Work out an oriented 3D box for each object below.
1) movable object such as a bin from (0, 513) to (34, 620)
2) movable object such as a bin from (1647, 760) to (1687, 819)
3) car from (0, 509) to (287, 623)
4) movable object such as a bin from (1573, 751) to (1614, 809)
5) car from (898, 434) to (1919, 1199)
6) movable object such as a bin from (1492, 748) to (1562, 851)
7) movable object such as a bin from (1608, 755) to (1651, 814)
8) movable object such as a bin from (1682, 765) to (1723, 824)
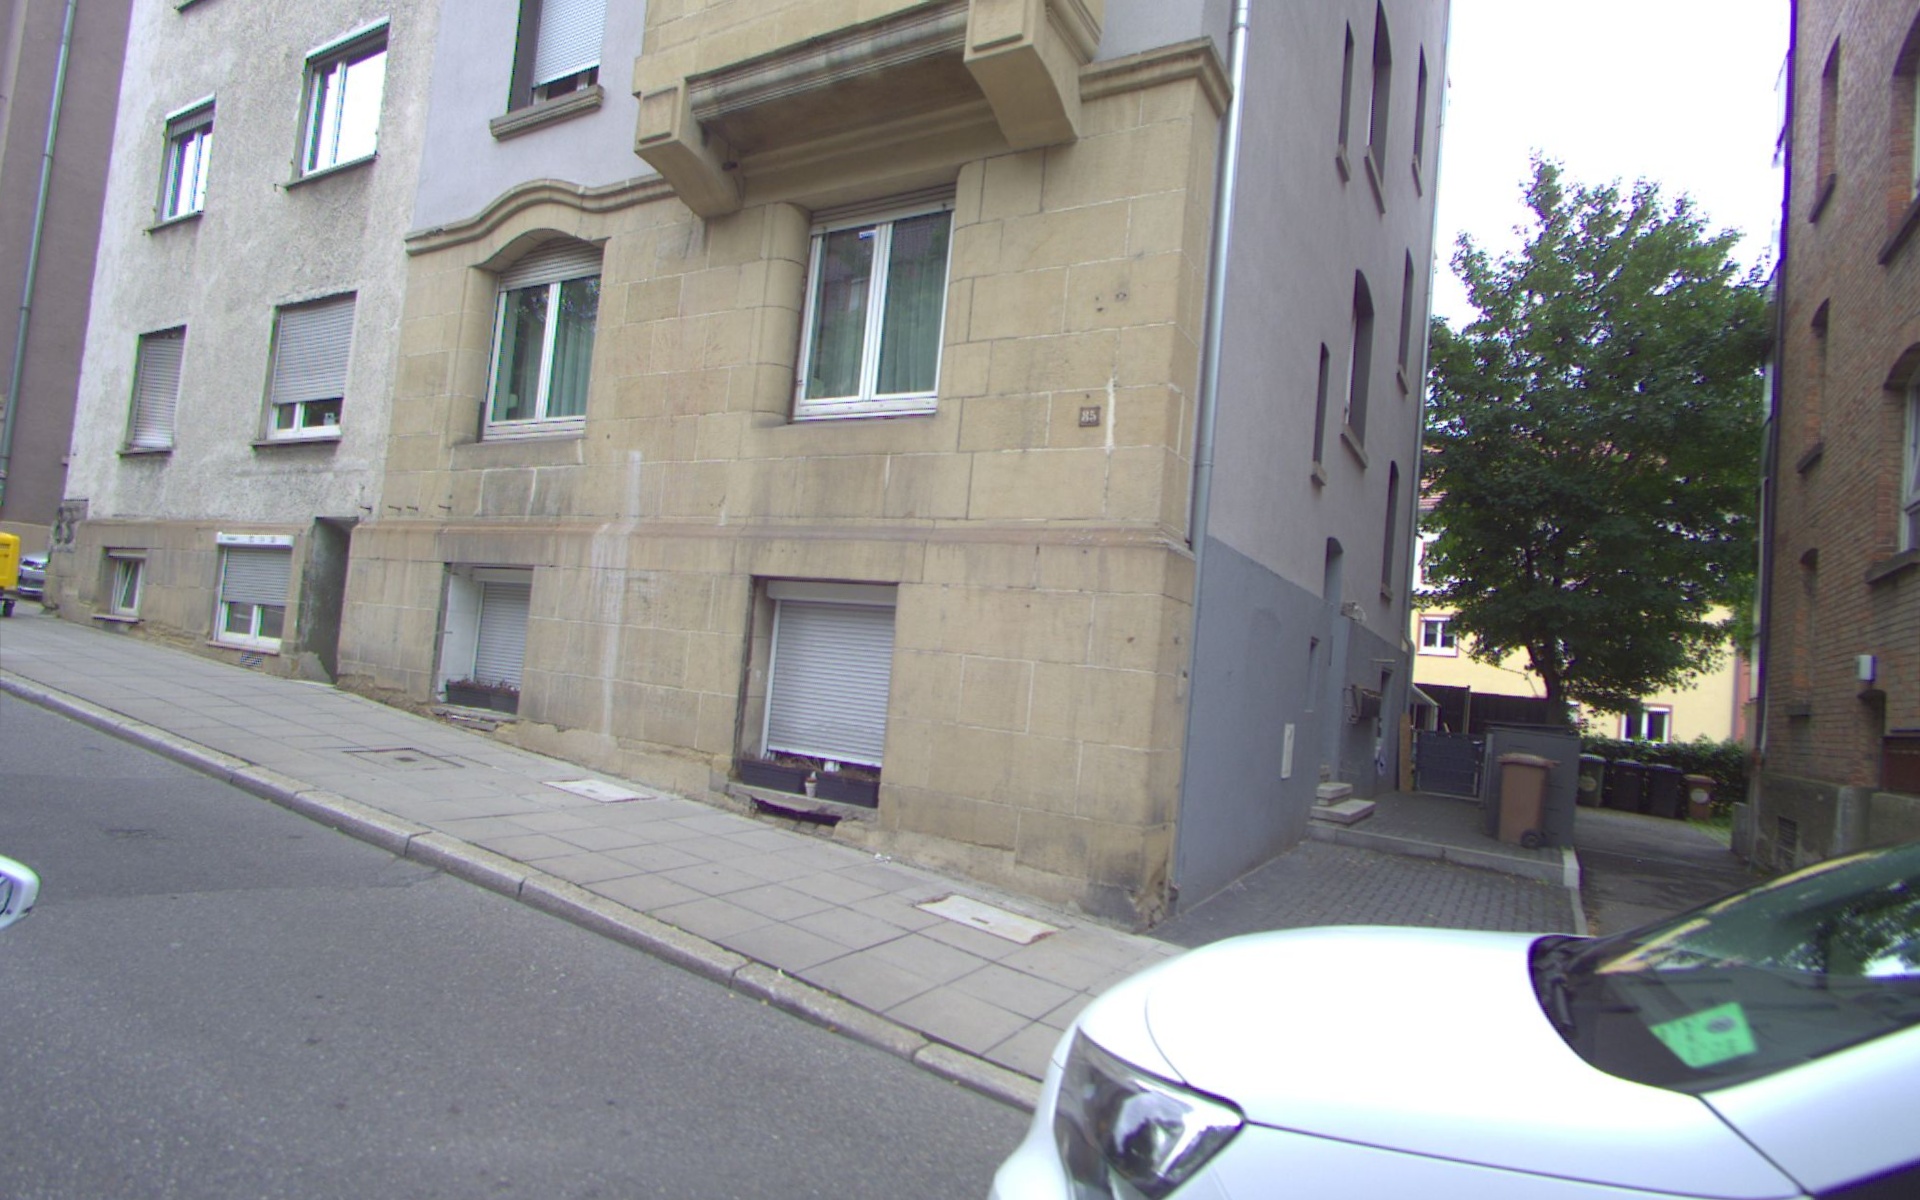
[{"bbox_3d":[-13.861,-0.534,14.077,1.664,1.437,0.721,6,-1,29],"label":"movable object such as a bin"},{"bbox_3d":[14.379,3.850,20.470,0.526,1.079,0.581,5,-2,30],"label":"movable object such as a bin"},{"bbox_3d":[-15.507,-0.585,19.137,1.770,1.419,3.997,9,-1,31],"label":"car"},{"bbox_3d":[13.138,3.731,20.877,0.618,1.079,0.581,5,-2,30],"label":"movable object such as a bin"},{"bbox_3d":[2.458,0.971,0.858,4.942,1.845,1.853,5,-4,35],"label":"car"},{"bbox_3d":[5.843,2.038,10.362,0.541,0.943,0.537,5,-4,33],"label":"movable object such as a bin"},{"bbox_3d":[13.865,3.812,20.846,0.618,1.079,0.581,5,-2,30],"label":"movable object such as a bin"},{"bbox_3d":[14.939,3.901,20.247,0.526,1.079,0.581,5,-2,30],"label":"movable object such as a bin"}]
